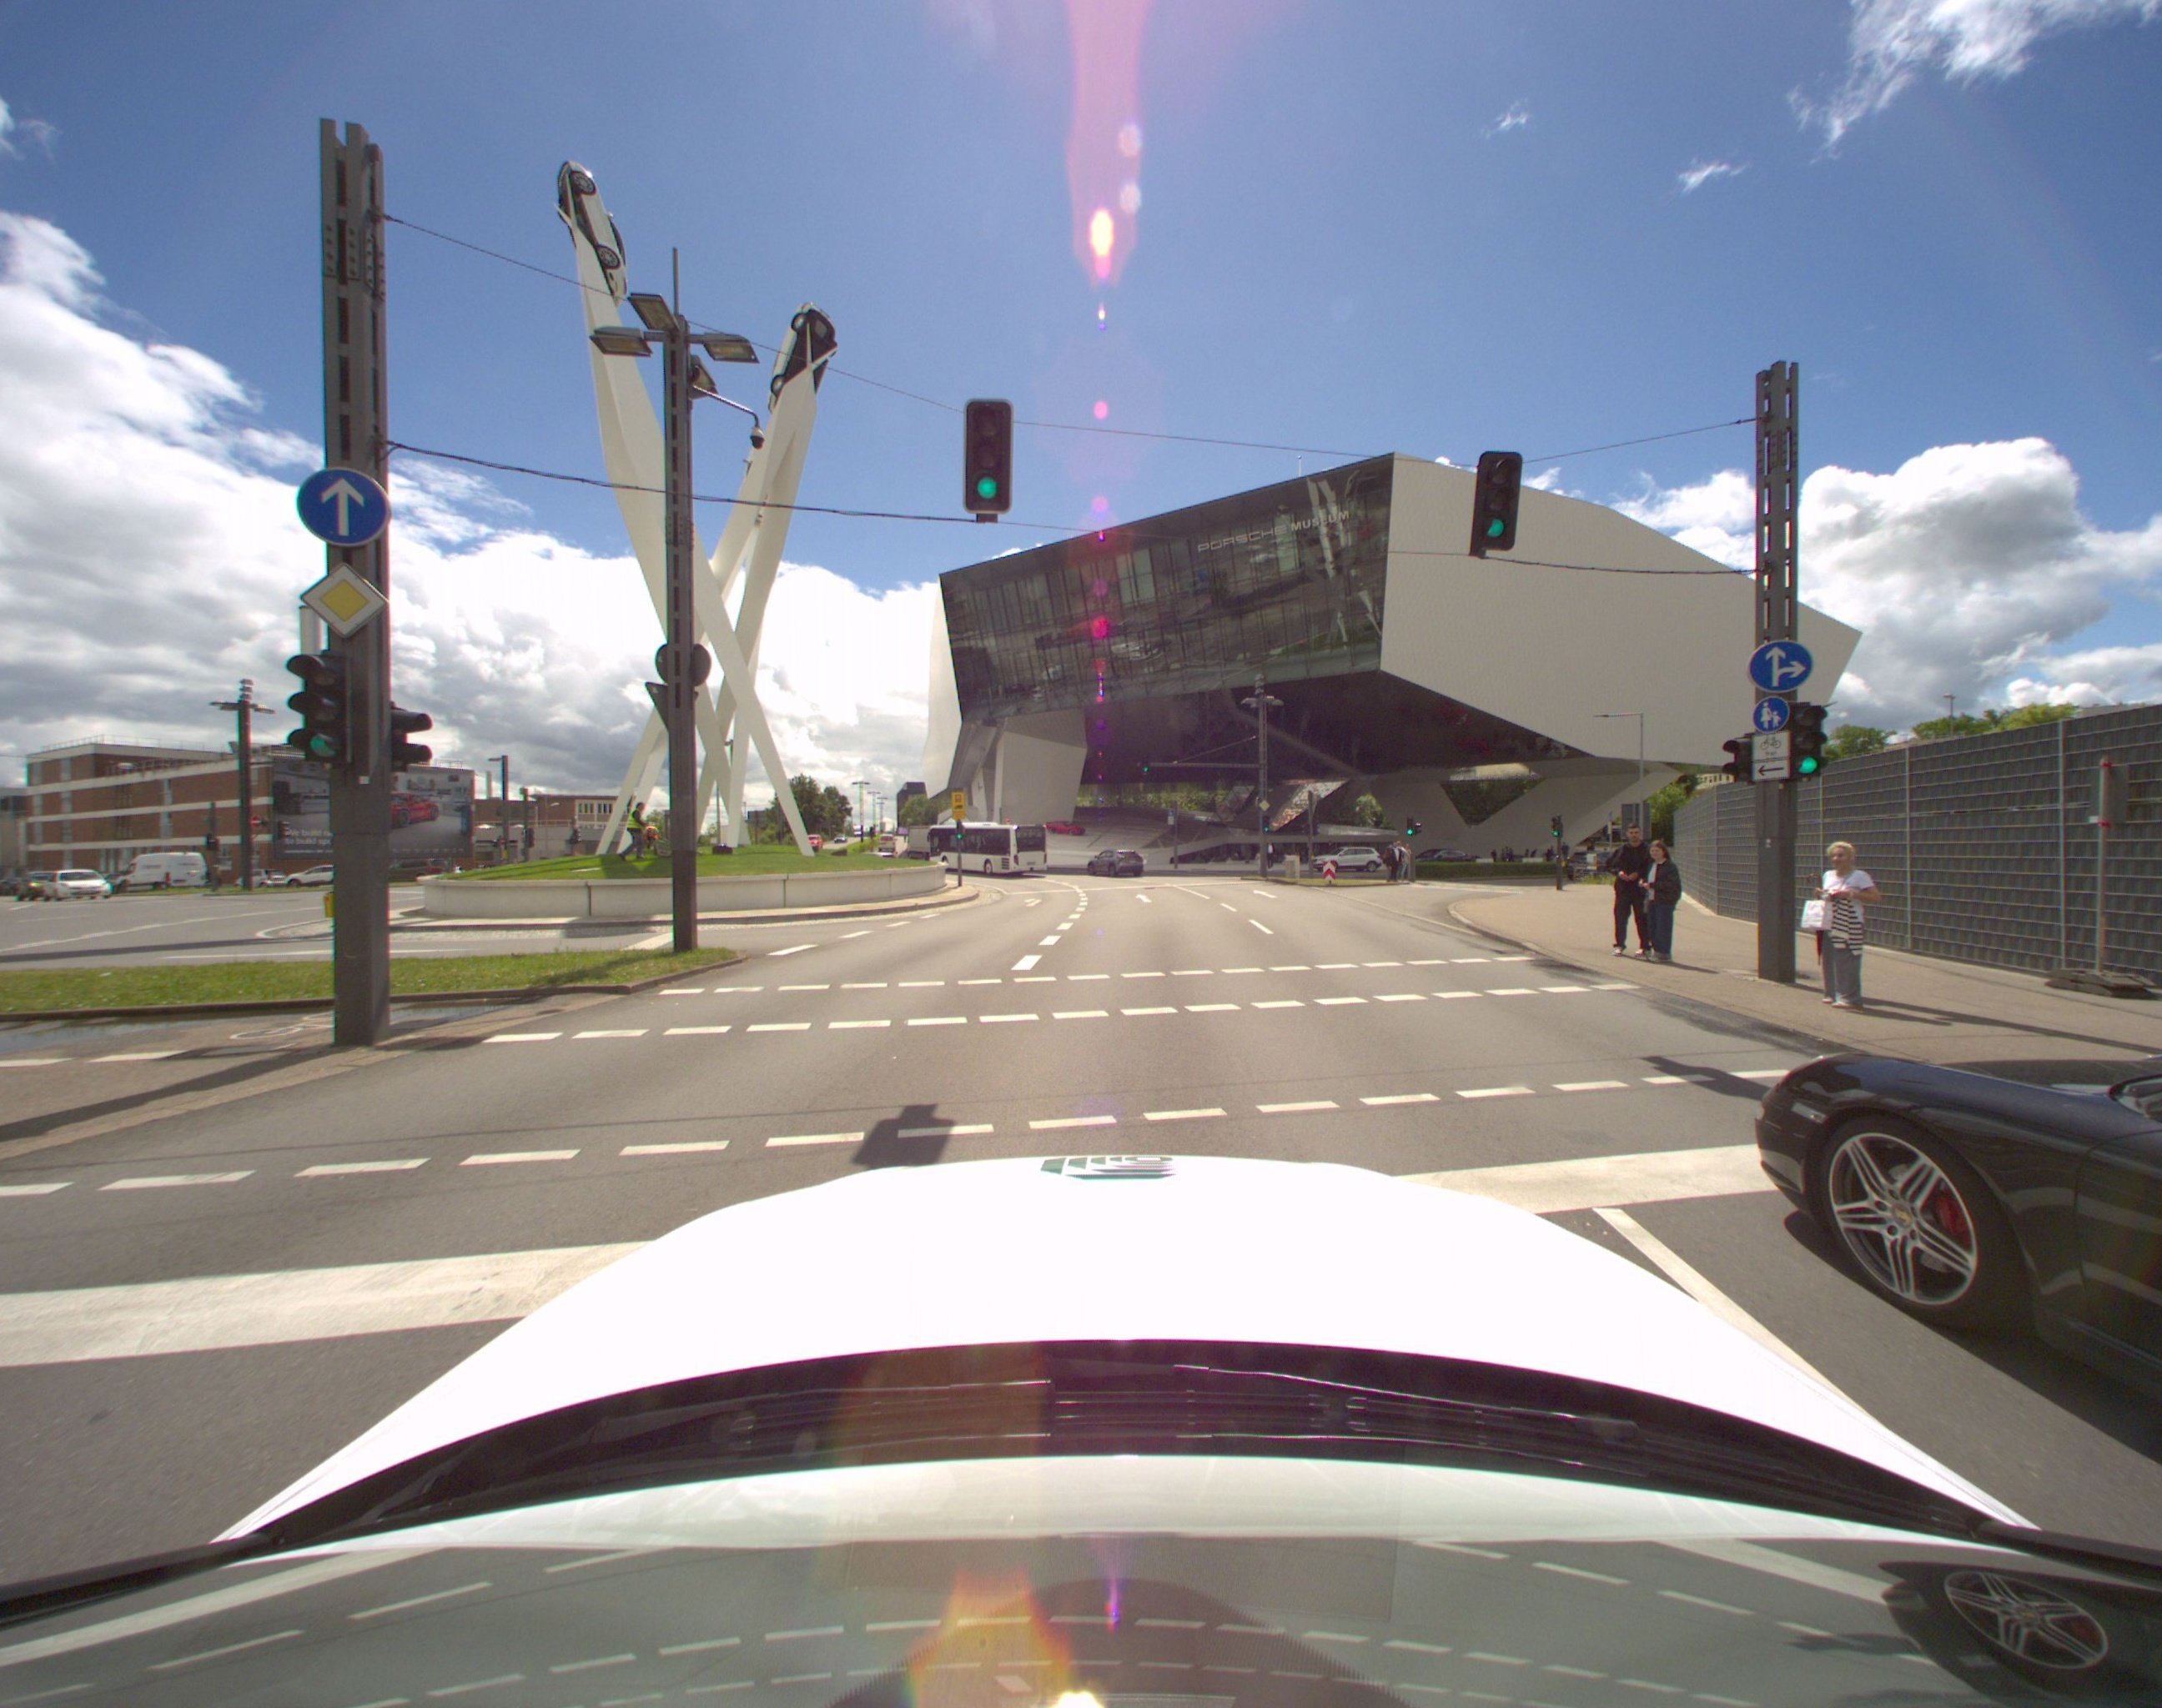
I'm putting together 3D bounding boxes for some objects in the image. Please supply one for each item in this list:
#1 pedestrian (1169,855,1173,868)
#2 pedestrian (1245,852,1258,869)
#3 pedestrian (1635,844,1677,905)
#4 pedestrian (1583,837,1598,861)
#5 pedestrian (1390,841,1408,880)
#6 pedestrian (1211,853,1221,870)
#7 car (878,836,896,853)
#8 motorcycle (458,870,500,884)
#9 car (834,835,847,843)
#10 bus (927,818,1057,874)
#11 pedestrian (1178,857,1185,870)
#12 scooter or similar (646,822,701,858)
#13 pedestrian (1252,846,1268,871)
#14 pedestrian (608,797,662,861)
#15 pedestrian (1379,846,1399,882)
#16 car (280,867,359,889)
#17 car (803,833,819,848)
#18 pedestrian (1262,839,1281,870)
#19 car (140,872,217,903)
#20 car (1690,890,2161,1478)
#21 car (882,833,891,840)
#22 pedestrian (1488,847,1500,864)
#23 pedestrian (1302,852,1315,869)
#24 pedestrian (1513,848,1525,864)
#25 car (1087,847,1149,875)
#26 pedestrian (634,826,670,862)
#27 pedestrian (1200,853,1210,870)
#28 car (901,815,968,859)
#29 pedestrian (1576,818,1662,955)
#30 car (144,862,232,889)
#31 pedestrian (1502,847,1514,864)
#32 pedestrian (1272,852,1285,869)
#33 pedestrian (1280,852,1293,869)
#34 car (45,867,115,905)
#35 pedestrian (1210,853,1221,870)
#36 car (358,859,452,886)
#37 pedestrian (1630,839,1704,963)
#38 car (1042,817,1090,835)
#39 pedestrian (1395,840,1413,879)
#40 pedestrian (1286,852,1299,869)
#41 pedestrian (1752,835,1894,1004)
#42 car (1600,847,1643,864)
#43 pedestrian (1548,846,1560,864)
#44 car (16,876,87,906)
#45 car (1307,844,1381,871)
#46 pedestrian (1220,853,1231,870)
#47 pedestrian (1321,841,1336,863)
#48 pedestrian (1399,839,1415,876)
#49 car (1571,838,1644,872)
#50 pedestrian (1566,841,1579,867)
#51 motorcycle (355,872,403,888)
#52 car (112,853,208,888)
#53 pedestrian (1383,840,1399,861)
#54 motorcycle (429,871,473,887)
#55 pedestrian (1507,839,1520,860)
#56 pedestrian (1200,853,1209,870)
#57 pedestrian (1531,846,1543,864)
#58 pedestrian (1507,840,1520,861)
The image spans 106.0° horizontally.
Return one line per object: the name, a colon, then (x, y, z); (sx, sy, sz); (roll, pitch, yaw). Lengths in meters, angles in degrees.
pedestrian: (8.583, 0.751, 77.691); (0.393, 1.253, 0.400); (0, -1, -2)
pedestrian: (16.183, 0.643, 77.192); (0.831, 1.573, 0.917); (1, -1, -21)
pedestrian: (15.329, 0.551, 21.735); (0.687, 1.586, 0.925); (0, -1, 20)
pedestrian: (43.269, -0.438, 69.101); (0.830, 2.014, 0.769); (1, -1, -31)
pedestrian: (14.771, 0.326, 37.854); (0.664, 1.795, 0.624); (-1, -2, 34)
pedestrian: (12.734, 0.701, 76.823); (0.913, 1.573, 0.834); (0, -1, 15)
car: (-22.613, -1.088, 94.959); (1.996, 1.904, 3.980); (1, -1, -14)
motorcycle: (-49.801, 1.894, 67.413); (2.888, 1.196, 0.922); (0, -1, 6)
car: (-41.972, -2.632, 142.165); (1.755, 1.397, 4.657); (1, 2, -11)
bus: (-6.273, -0.395, 54.400); (3.095, 3.362, 12.089); (1, -1, -36)
pedestrian: (10.178, 0.939, 82.140); (0.555, 1.253, 0.477); (0, -1, 28)
scooter or similar: (-12.367, -0.429, 24.731); (1.409, 1.025, 0.545); (-3, 6, -31)
pedestrian: (10.852, 0.258, 49.337); (0.586, 1.496, 0.762); (2, -2, -45)
pedestrian: (-13.171, -0.753, 24.083); (1.289, 1.816, 0.978); (-3, 3, -29)
pedestrian: (14.048, 0.446, 37.172); (0.676, 1.638, 0.613); (1, -2, -39)
car: (-53.731, 1.671, 57.508); (3.964, 1.501, 2.004); (0, -1, 8)
car: (-38.013, -1.941, 114.931); (1.999, 1.983, 4.809); (-2, 1, -17)
pedestrian: (12.175, 0.017, 52.061); (0.949, 1.984, 1.383); (0, 1, 4)
car: (-48.330, 1.744, 43.600); (3.949, 1.577, 2.012); (0, -1, 31)
car: (3.530, 0.877, 1.612); (1.826, 1.325, 4.004); (1, 1, 4)
car: (-50.426, -4.590, 211.225); (1.994, 1.635, 4.639); (0, 1, -10)
pedestrian: (42.848, 0.138, 84.497); (0.829, 1.739, 0.770); (1, -1, -28)
pedestrian: (21.306, 0.613, 76.292); (0.829, 1.573, 0.919); (1, -1, -15)
pedestrian: (45.676, 0.207, 84.911); (0.830, 1.739, 0.769); (1, -1, -31)
car: (2.184, 0.431, 48.971); (2.005, 1.637, 3.962); (1, -1, -29)
pedestrian: (-18.233, -0.431, 34.625); (0.848, 1.407, 0.968); (-7, -2, 10)
pedestrian: (11.748, 0.703, 77.168); (0.822, 1.573, 0.927); (0, -1, 15)
car: (-12.911, -1.324, 70.932); (3.352, 3.504, 9.262); (1, -1, -26)
pedestrian: (7.678, 0.455, 11.643); (0.663, 1.866, 0.786); (1, -1, -26)
car: (-63.652, 1.498, 58.096); (4.472, 1.858, 2.217); (0, -1, 12)
pedestrian: (43.760, 0.124, 83.425); (0.830, 1.739, 0.769); (1, -1, -31)
pedestrian: (18.361, 0.624, 75.865); (0.831, 1.573, 0.917); (1, -1, -21)
pedestrian: (19.327, 0.615, 76.593); (0.831, 1.573, 0.917); (1, -1, -21)
car: (-50.004, 1.577, 40.673); (3.727, 1.797, 1.924); (0, -1, 35)
pedestrian: (12.503, 0.681, 75.655); (0.914, 1.573, 0.834); (0, -1, 14)
car: (-42.215, 1.145, 50.945); (3.983, 1.637, 1.995); (0, -1, -7)
pedestrian: (7.868, 0.617, 10.949); (0.464, 1.616, 0.661); (0, -1, -10)
car: (-1.526, -2.840, 81.868); (4.456, 1.394, 2.013); (8, 8, 34)
pedestrian: (15.226, 0.269, 38.387); (0.664, 1.847, 0.624); (-1, -2, 32)
pedestrian: (19.665, 0.596, 75.715); (0.831, 1.573, 0.917); (1, -1, -21)
pedestrian: (7.414, 0.631, 8.176); (0.657, 1.608, 0.822); (0, -1, -1)
car: (65.656, 0.198, 99.006); (4.157, 2.014, 2.012); (-1, -1, 39)
pedestrian: (47.288, 0.107, 81.472); (0.831, 1.739, 0.768); (1, -2, -36)
car: (-56.857, 1.994, 44.977); (4.170, 1.556, 1.836); (0, -1, 30)
car: (16.521, 0.217, 51.262); (3.982, 1.550, 1.834); (-2, -1, -6)
pedestrian: (13.537, 0.695, 76.224); (0.785, 1.573, 0.698); (-1, -2, 39)
pedestrian: (20.632, -0.184, 67.882); (0.831, 1.826, 0.917); (1, -1, -21)
pedestrian: (15.736, 0.183, 39.261); (0.599, 1.759, 0.624); (-1, -2, 34)
car: (28.347, 0.085, 43.826); (4.017, 1.703, 1.978); (1, -1, -36)
pedestrian: (38.776, 0.023, 64.287); (0.767, 2.014, 0.832); (0, -1, 26)
motorcycle: (-51.687, 1.900, 59.981); (2.888, 1.196, 0.922); (0, -1, 6)
car: (-59.617, 1.054, 52.739); (4.610, 2.171, 2.006); (0, -1, 11)
pedestrian: (25.734, -0.303, 67.666); (0.831, 1.676, 0.917); (1, -1, -21)
motorcycle: (-50.203, 1.976, 64.884); (2.888, 1.196, 0.922); (0, -1, 6)
pedestrian: (42.138, -0.427, 79.375); (0.830, 2.014, 0.769); (1, -1, -31)
pedestrian: (11.543, 0.692, 76.043); (0.822, 1.573, 0.926); (0, -1, 10)
pedestrian: (45.453, 0.095, 81.201); (0.830, 1.739, 0.769); (1, -1, -31)
pedestrian: (41.568, -0.368, 78.272); (0.830, 2.014, 0.769); (1, -1, -31)
